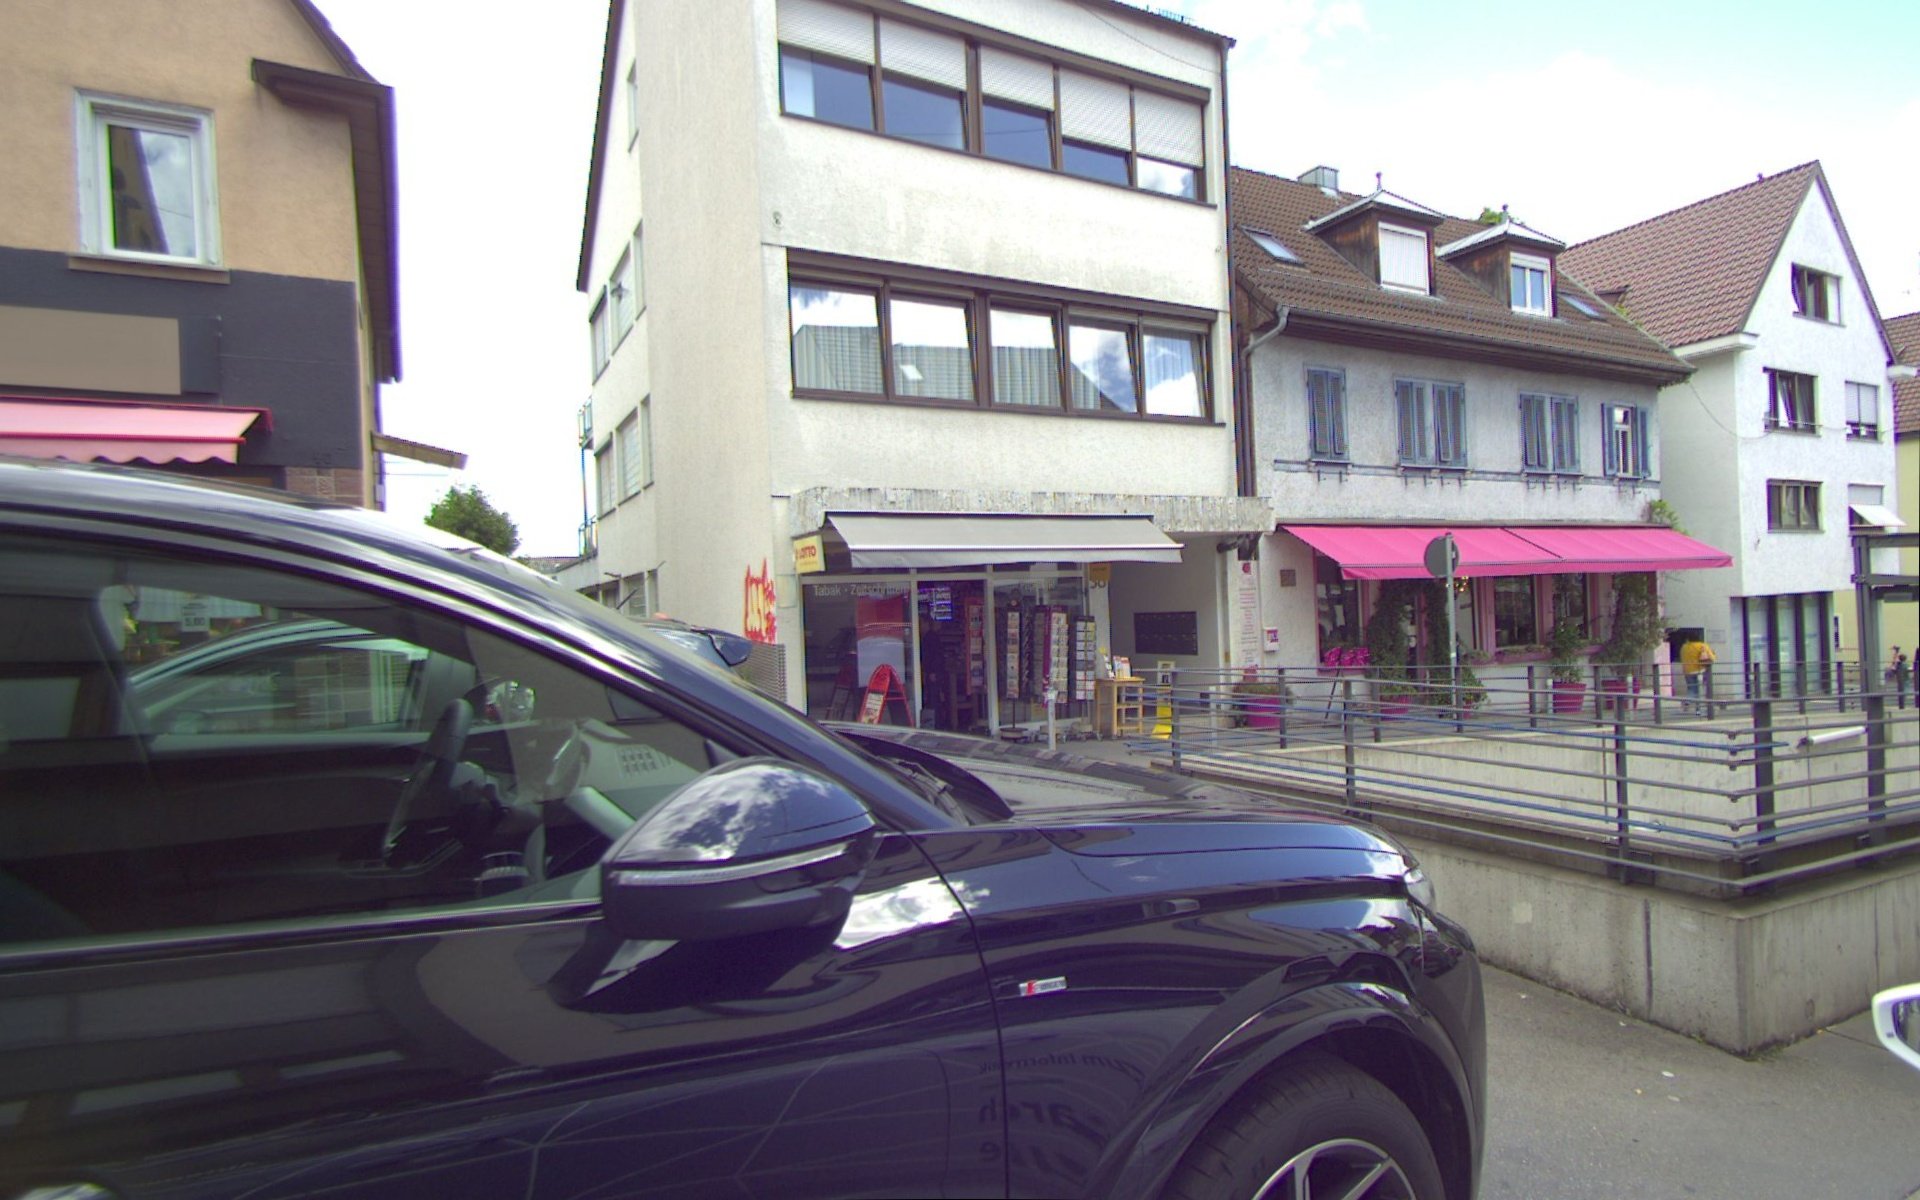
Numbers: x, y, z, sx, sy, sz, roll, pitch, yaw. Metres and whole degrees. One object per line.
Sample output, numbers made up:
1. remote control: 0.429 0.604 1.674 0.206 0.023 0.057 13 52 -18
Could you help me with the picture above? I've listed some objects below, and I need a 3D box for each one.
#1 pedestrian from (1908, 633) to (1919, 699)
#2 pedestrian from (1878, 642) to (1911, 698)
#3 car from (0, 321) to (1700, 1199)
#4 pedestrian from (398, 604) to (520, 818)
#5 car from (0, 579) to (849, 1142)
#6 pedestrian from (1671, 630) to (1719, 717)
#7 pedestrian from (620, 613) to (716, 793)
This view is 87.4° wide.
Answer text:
1. pedestrian: 25.424 1.735 26.471 0.559 1.711 0.605 1 0 -44
2. pedestrian: 24.574 1.843 26.418 0.527 1.440 0.455 1 0 -27
3. car: -0.997 0.648 1.571 4.264 1.661 1.947 1 0 -30
4. pedestrian: -4.178 0.899 8.405 0.653 1.711 0.646 -1 -1 10
5. car: -2.522 0.714 3.709 3.840 1.495 1.730 1 -1 -32
6. pedestrian: 14.916 1.486 20.385 0.570 1.711 0.575 1 0 -30
7. pedestrian: -2.931 1.003 10.063 0.816 1.711 0.637 1 -2 -26
